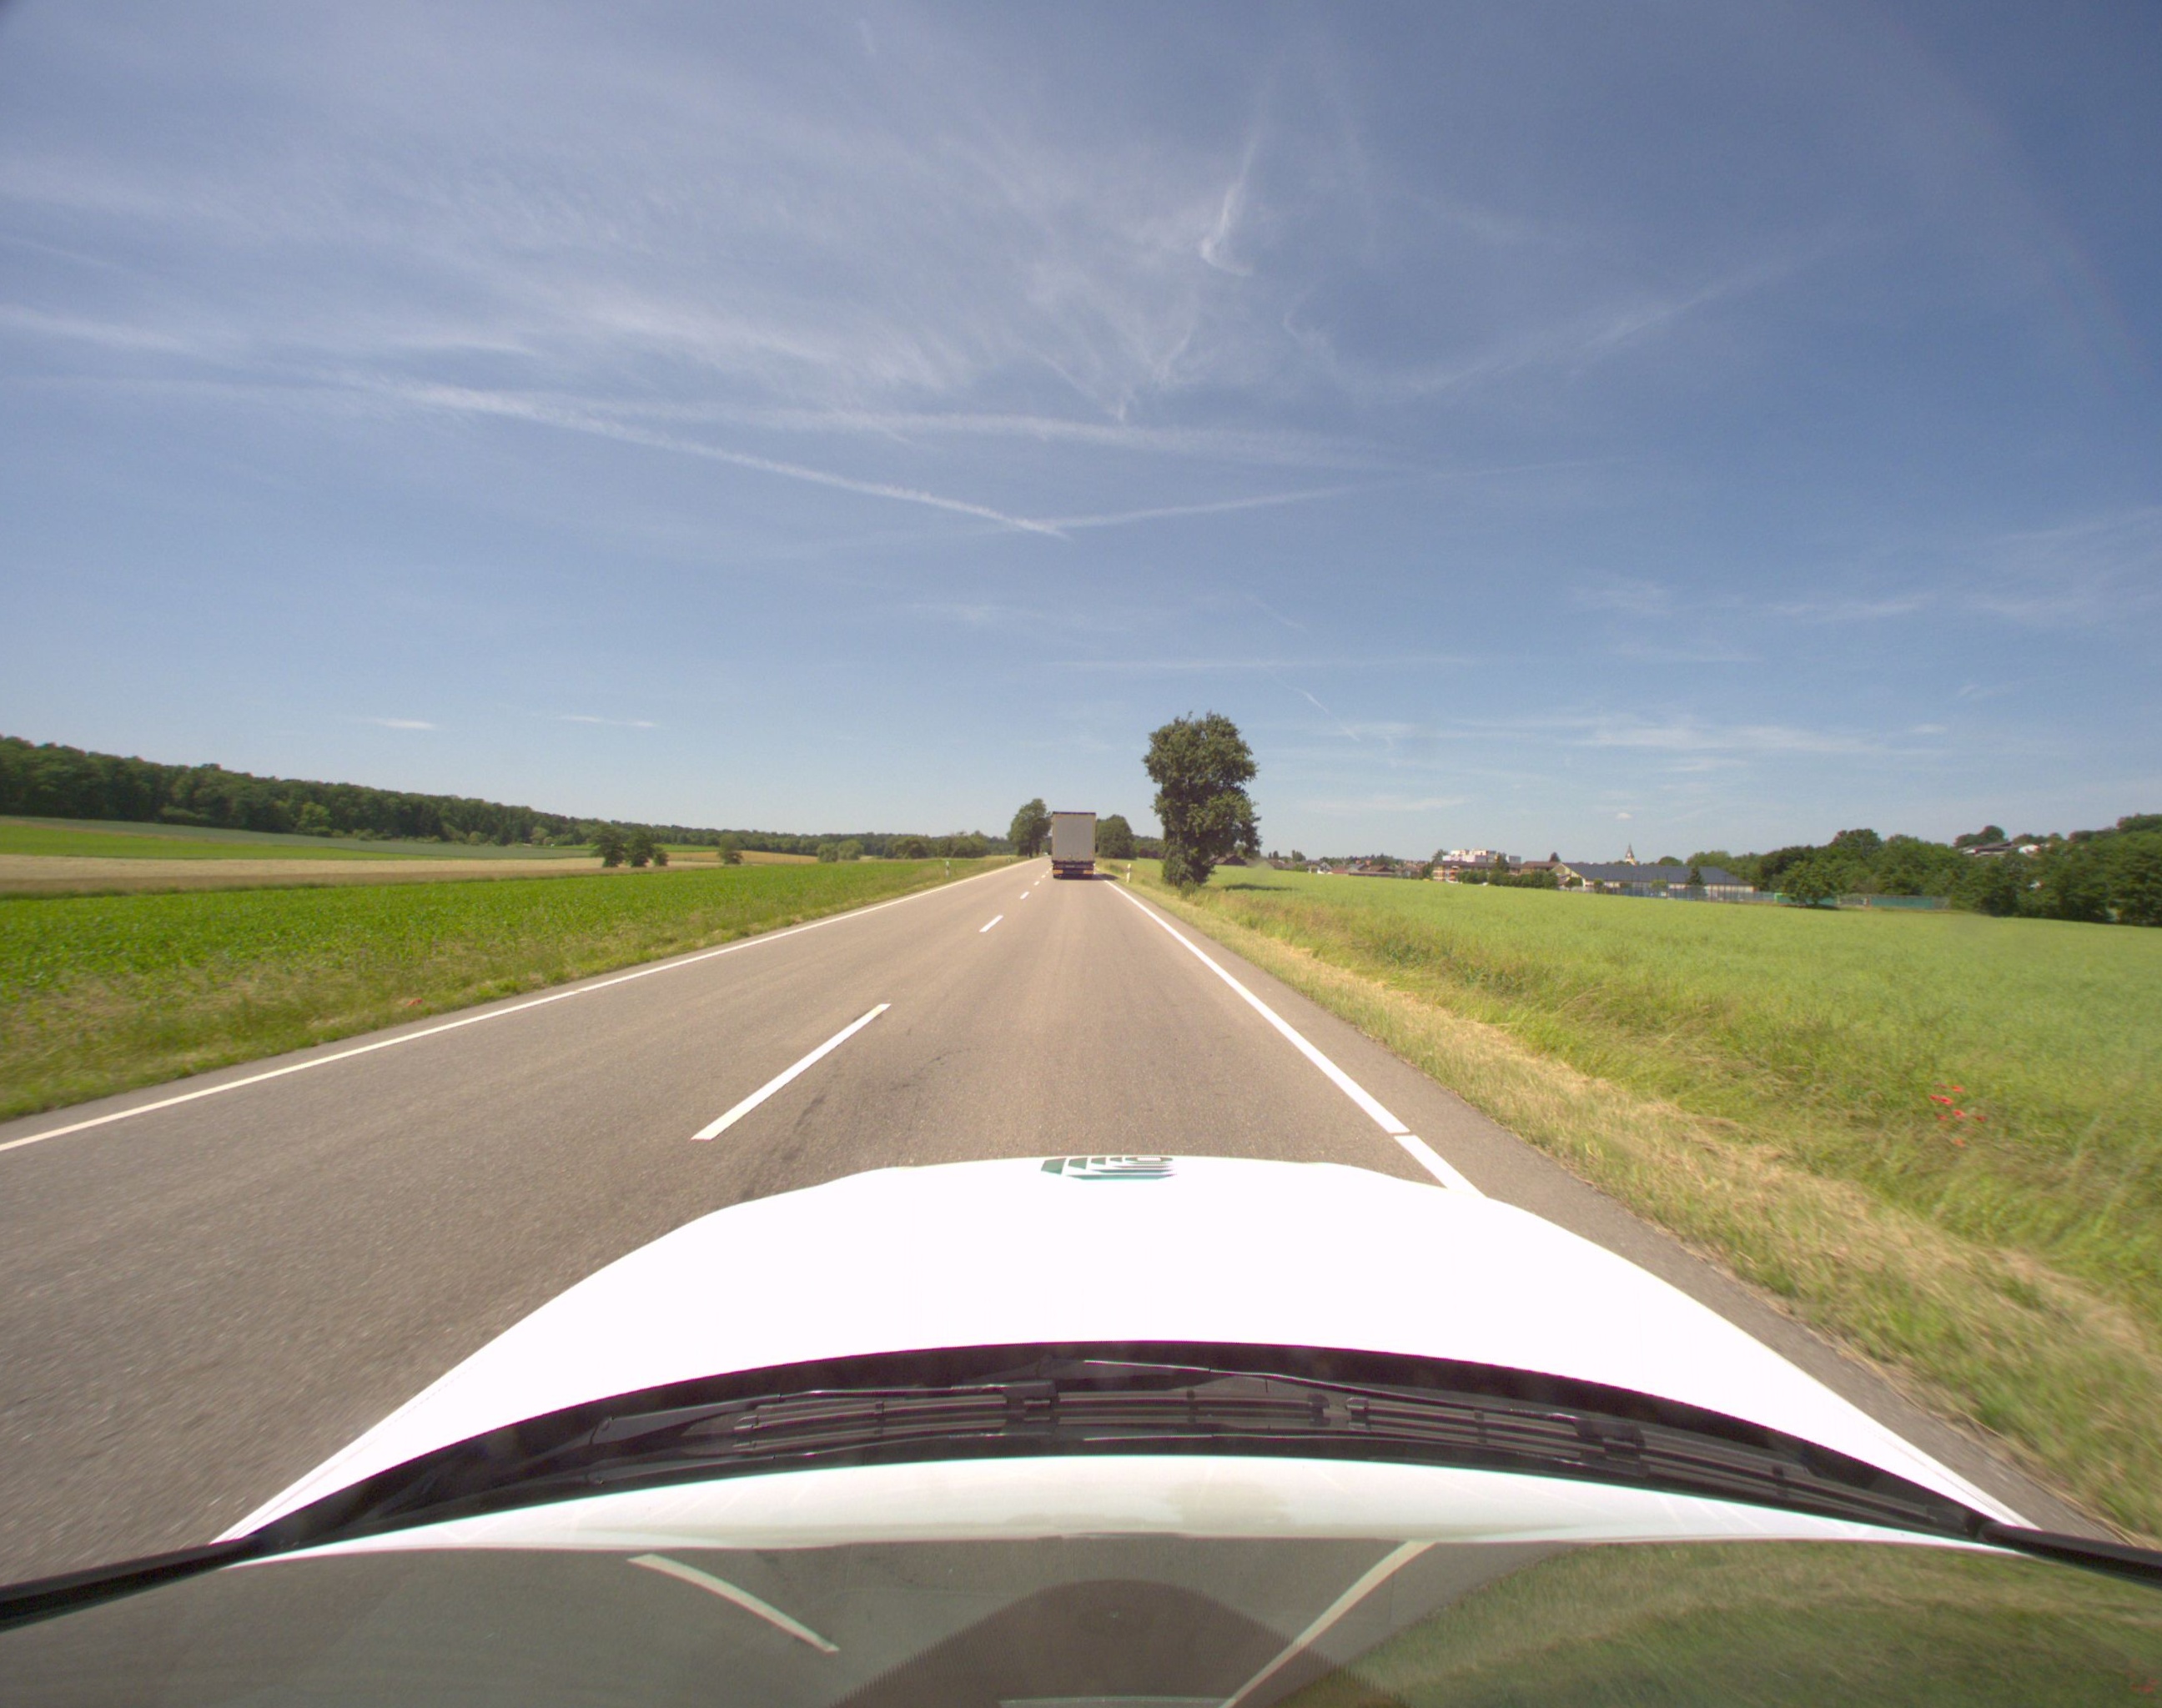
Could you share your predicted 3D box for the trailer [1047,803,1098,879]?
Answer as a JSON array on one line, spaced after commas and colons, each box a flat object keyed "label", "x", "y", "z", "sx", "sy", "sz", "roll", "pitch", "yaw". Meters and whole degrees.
[{"label": "trailer", "x": -0.746, "y": -0.788, "z": 54.004, "sx": 2.860, "sy": 4.400, "sz": 13.479, "roll": 0, "pitch": 0, "yaw": -3}]
